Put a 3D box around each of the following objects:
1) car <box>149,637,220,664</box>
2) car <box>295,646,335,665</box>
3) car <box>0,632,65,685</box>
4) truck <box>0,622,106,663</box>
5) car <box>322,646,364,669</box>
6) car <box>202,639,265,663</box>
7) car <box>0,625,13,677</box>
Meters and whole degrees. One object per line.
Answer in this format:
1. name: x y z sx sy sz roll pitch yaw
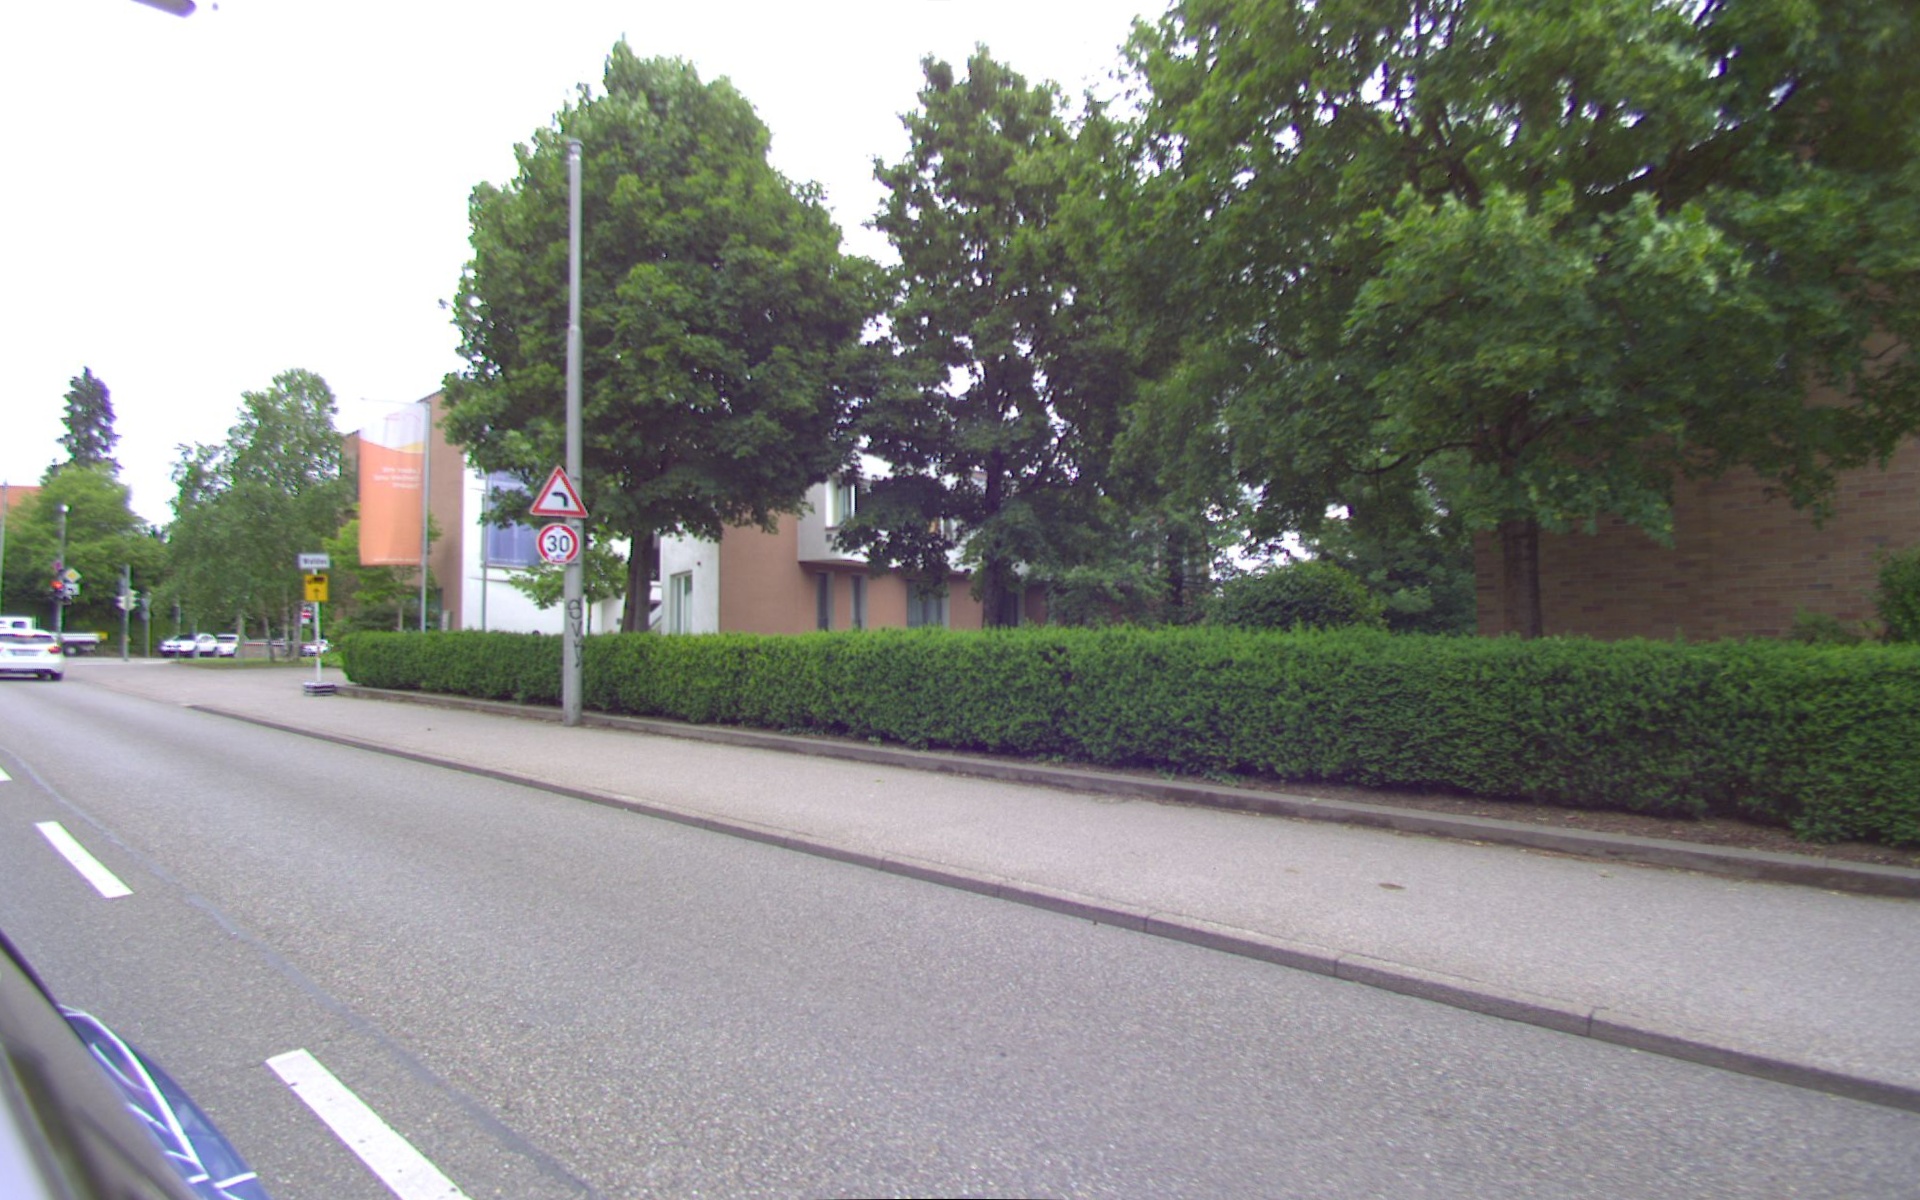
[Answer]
1. car: -49.622 3.261 64.860 1.967 1.625 4.008 2 -4 -10
2. car: -57.397 4.929 90.167 1.841 1.599 3.740 2 -3 -14
3. car: -26.992 1.626 28.779 4.064 1.432 1.747 -1 -5 42
4. truck: -52.904 2.406 57.378 6.609 2.205 2.535 4 -4 -38
5. car: -42.499 3.973 69.758 1.848 1.460 4.013 3 -4 -23
6. car: -50.492 3.567 70.410 1.967 1.625 4.008 2 -4 -10
7. car: -32.221 1.589 32.781 4.300 1.650 1.750 -2 -6 42
